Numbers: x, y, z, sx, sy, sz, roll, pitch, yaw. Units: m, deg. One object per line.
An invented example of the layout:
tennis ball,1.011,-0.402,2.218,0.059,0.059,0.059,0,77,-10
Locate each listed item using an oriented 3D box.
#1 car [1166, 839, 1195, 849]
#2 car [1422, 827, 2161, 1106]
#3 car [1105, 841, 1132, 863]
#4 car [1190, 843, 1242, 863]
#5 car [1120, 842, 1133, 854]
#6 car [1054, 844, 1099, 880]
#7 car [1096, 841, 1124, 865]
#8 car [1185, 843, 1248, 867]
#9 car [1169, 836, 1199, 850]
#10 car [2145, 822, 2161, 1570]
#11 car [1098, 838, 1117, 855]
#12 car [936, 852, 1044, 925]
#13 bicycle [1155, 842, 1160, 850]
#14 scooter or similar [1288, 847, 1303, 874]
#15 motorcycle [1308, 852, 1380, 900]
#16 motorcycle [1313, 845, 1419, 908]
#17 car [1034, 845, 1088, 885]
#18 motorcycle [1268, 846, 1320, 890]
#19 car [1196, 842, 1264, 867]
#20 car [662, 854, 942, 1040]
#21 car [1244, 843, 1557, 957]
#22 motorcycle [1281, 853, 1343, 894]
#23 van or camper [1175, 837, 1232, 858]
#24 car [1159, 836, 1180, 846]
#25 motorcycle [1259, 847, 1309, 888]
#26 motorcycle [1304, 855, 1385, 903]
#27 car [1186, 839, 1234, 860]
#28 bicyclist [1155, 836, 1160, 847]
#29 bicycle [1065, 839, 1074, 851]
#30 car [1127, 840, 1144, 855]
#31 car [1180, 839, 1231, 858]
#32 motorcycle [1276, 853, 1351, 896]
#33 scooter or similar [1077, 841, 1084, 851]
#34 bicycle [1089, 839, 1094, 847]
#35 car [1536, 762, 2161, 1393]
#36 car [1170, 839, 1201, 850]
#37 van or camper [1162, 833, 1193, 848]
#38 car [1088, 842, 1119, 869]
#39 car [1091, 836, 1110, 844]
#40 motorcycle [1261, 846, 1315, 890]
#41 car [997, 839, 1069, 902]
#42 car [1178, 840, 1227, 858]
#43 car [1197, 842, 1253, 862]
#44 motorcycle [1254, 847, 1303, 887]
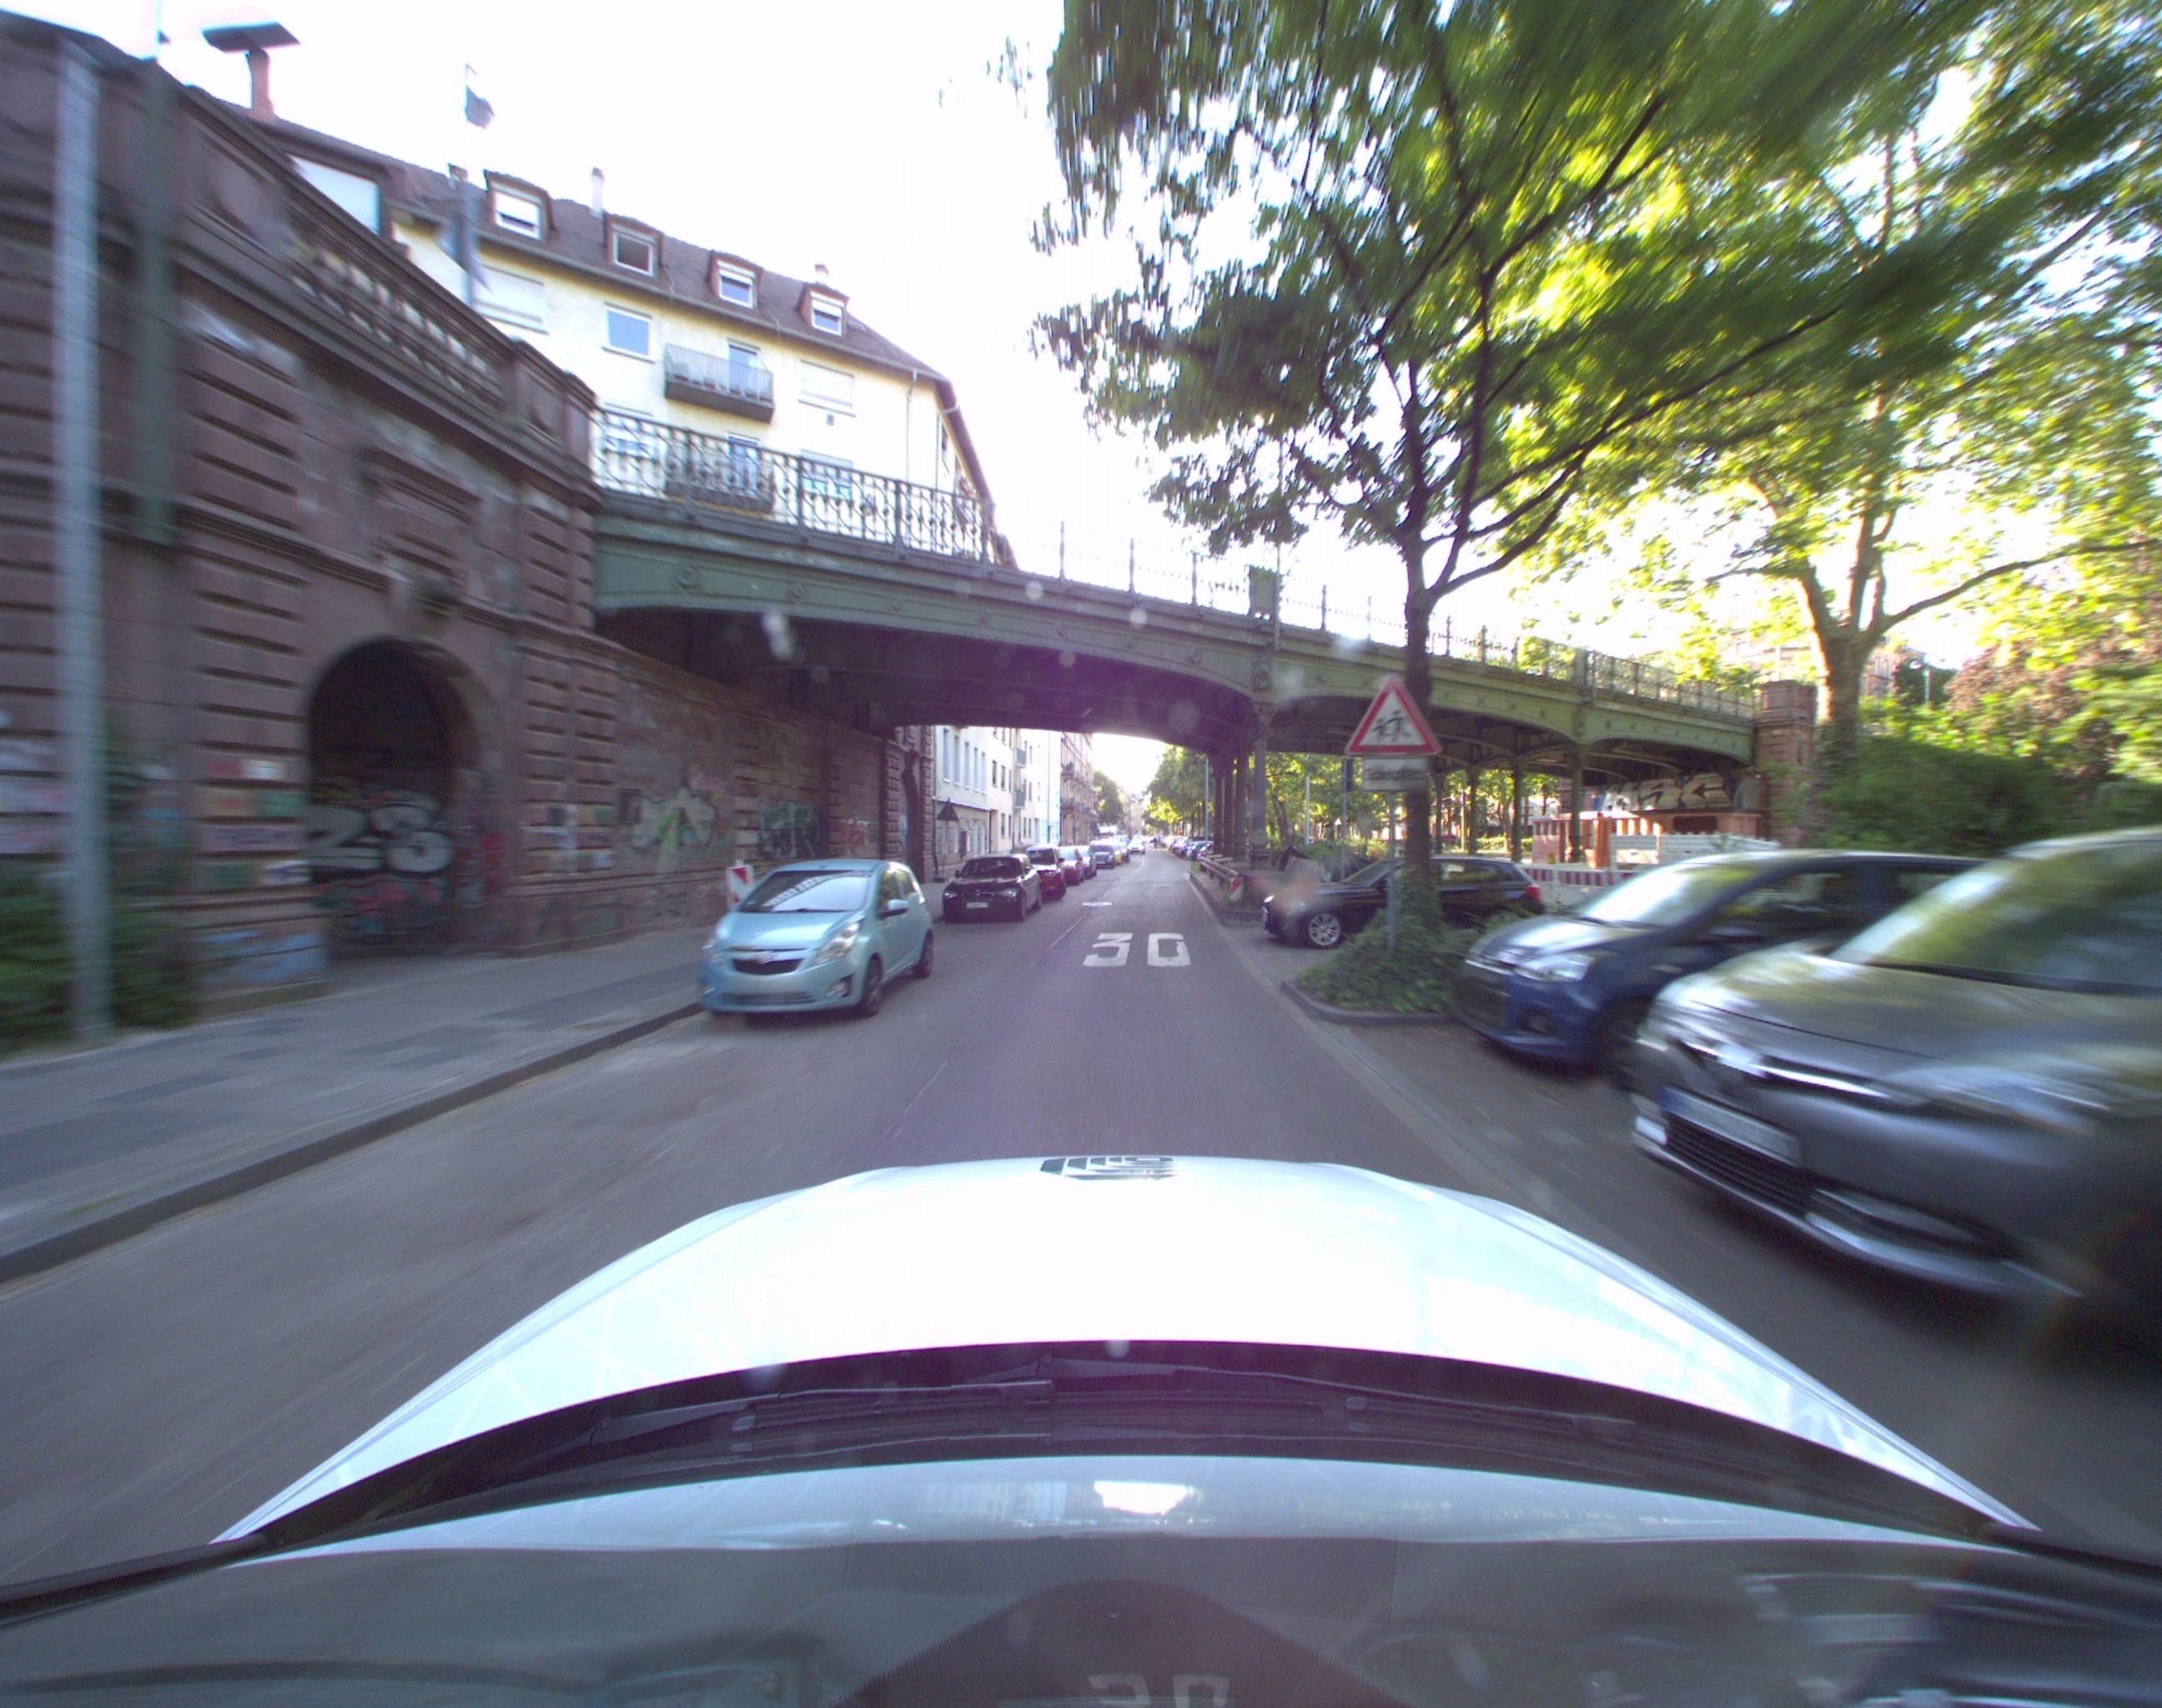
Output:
car,14.729,-1.510,120.865,4.196,1.453,1.653,-1,1,8
car,5.030,0.652,5.760,4.561,1.606,1.738,0,-1,7
car,2.764,-0.179,59.068,1.731,1.479,4.007,-1,1,6
car,10.098,-0.083,60.777,3.759,1.447,1.669,0,0,9
car,6.032,-0.797,108.151,1.495,1.435,2.760,-1,1,9
car,-0.158,0.319,37.382,1.629,1.466,4.006,-2,1,5
car,1.978,-0.113,54.234,1.695,1.525,3.778,0,1,4
car,8.389,0.068,50.819,3.763,1.401,1.830,0,0,5
car,14.691,-1.617,116.400,4.199,1.864,1.764,-1,1,5
car,4.362,0.754,0.692,4.357,1.533,1.877,2,0,2
car,2.799,-0.825,84.894,1.744,1.705,4.205,2,1,4
car,-1.979,0.712,18.889,1.708,1.464,4.006,-1,1,5
bicycle,10.911,-1.192,116.347,0.638,1.100,1.945,2,0,3
scooter or similar,10.518,0.316,39.949,0.474,1.298,1.328,2,-1,7
motorcycle,6.542,0.547,20.216,1.731,1.132,0.706,2,-1,-30
motorcycle,5.903,0.475,16.859,1.937,1.238,0.898,2,-1,-21
car,-0.723,0.386,32.253,1.681,1.441,4.006,0,1,5
motorcycle,7.265,0.470,27.750,1.586,1.408,0.716,1,-1,24
car,8.922,0.045,48.946,3.769,1.472,1.635,0,-1,0
car,-2.726,0.797,8.929,1.589,1.547,3.917,-1,0,2
car,4.938,0.686,13.036,4.357,1.577,1.675,2,0,2
motorcycle,6.757,0.572,23.847,1.601,1.132,0.709,2,-1,-13
van or camper,11.827,-0.648,79.108,5.386,2.027,2.033,0,2,6
car,17.823,-2.547,163.613,3.972,1.794,1.859,2,0,1
motorcycle,7.194,0.474,28.860,1.586,1.408,0.716,1,-1,24
motorcycle,6.011,0.574,18.549,1.731,1.030,0.805,2,-1,-30
car,10.485,-0.351,66.309,3.764,1.646,1.666,0,-1,5
bicyclist,10.931,-1.754,116.435,0.625,1.573,0.803,2,-1,3
bicycle,-1.220,-0.948,88.210,0.733,1.206,2.518,2,2,5
car,5.928,-0.670,88.068,1.660,1.430,4.007,-2,2,5
car,10.846,-0.442,71.028,4.373,1.577,1.668,0,-1,9
motorcycle,6.454,0.557,22.581,1.837,1.132,0.845,2,-1,-19
scooter or similar,-0.053,-0.988,106.210,0.780,1.222,2.707,2,0,4
bicycle,1.710,-1.772,129.254,0.702,1.147,1.890,2,0,1
car,4.499,0.668,3.203,4.360,1.708,1.907,2,0,0
car,14.273,-1.296,111.065,4.066,1.442,1.762,-1,1,1
van or camper,15.774,-2.191,133.364,4.962,2.377,2.186,2,-1,2
car,1.392,0.062,49.038,1.559,1.517,3.789,0,1,6
car,4.420,-3.141,180.960,3.968,1.706,2.003,2,0,5
motorcycle,6.840,0.453,26.865,1.586,1.408,0.716,1,-1,24
car,-1.356,0.431,24.728,1.710,1.708,4.326,-1,1,3
car,10.965,-0.435,73.634,4.376,1.577,1.667,0,-1,6
car,10.311,-0.156,58.449,3.769,1.401,1.766,0,0,0
motorcycle,7.208,0.479,29.731,1.586,1.408,0.716,1,-1,24
